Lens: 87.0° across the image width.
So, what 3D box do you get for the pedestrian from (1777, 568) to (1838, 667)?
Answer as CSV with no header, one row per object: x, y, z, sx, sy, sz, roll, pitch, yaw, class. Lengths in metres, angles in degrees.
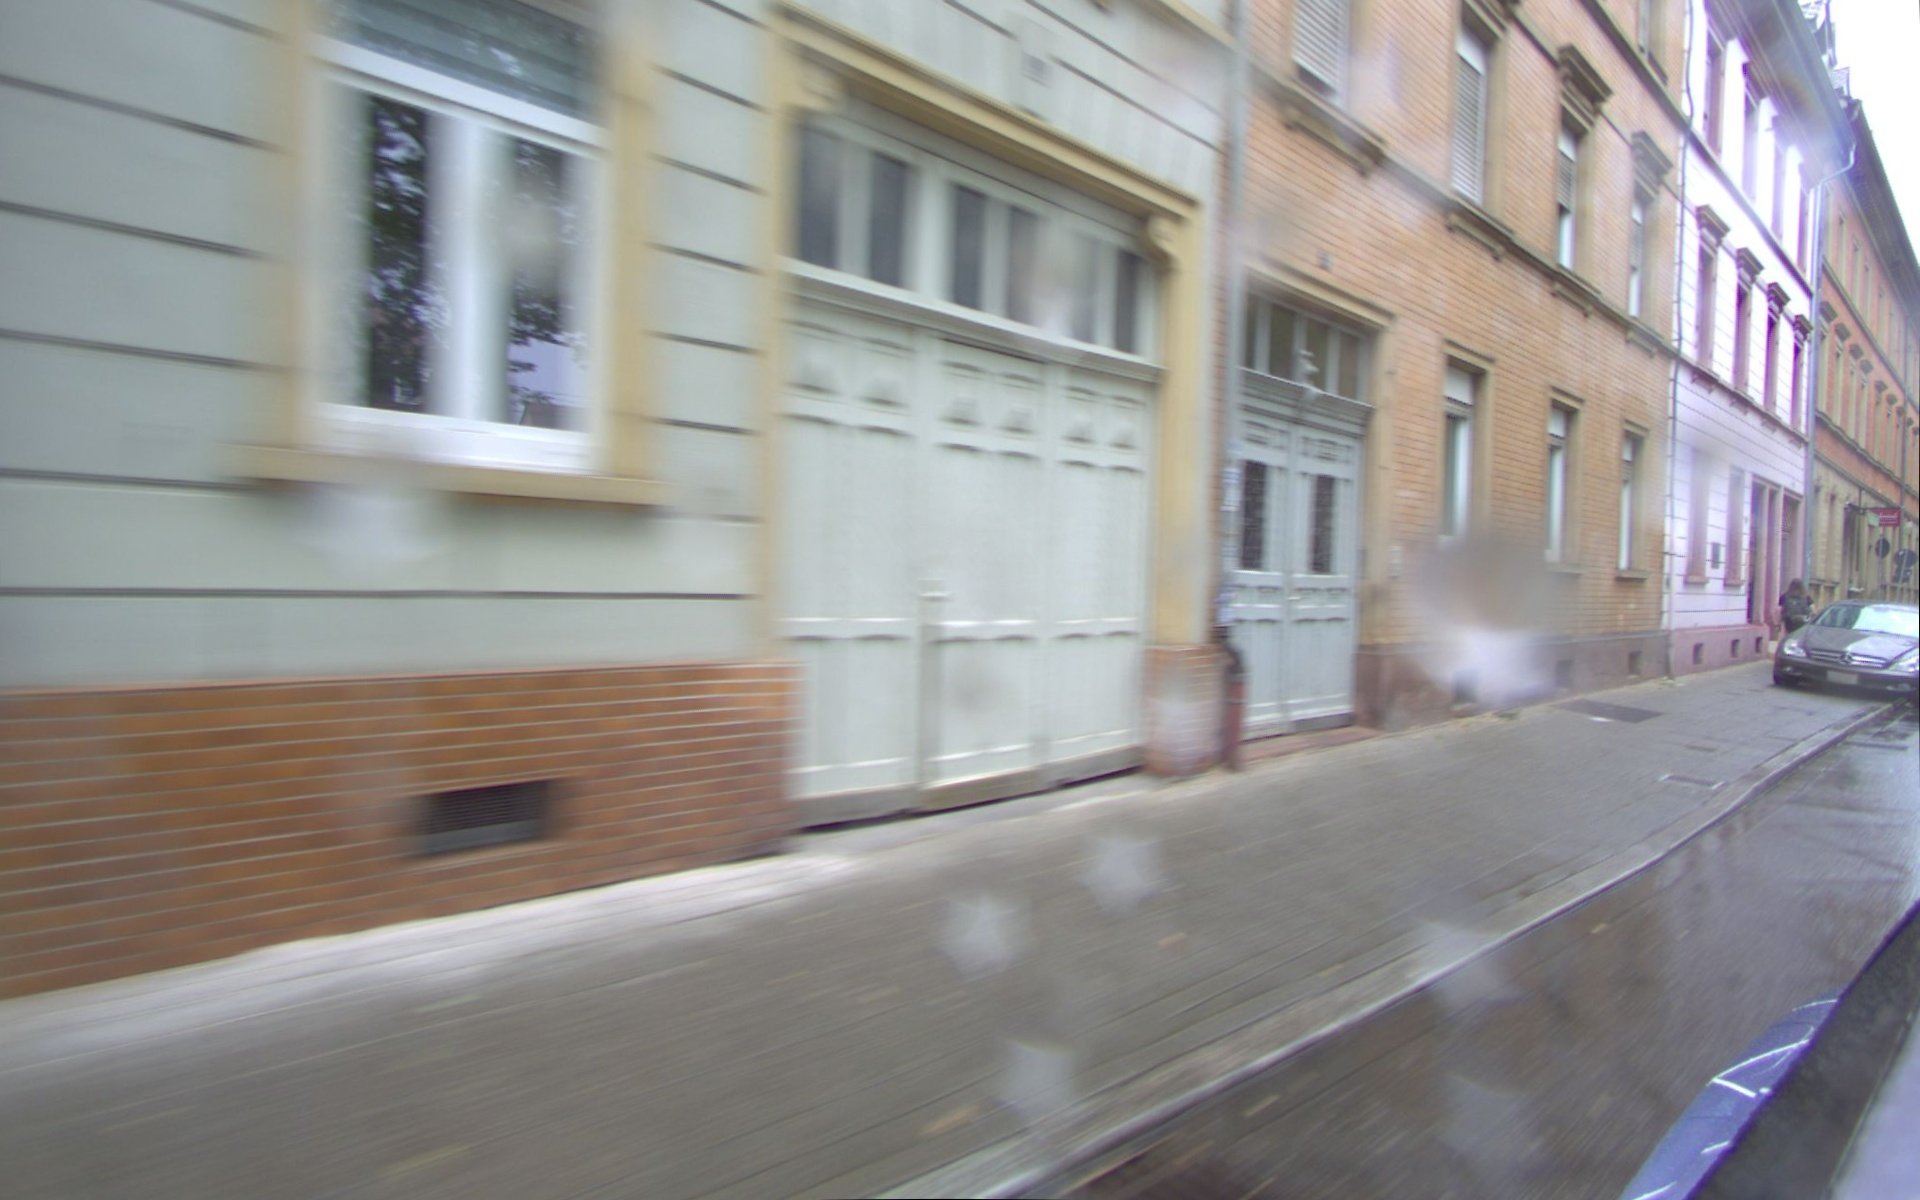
15.225,0.296,18.185,0.593,1.705,0.640,0,4,-43,pedestrian

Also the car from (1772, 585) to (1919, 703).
14.186,0.586,15.414,4.612,1.437,1.819,0,5,-39,car
